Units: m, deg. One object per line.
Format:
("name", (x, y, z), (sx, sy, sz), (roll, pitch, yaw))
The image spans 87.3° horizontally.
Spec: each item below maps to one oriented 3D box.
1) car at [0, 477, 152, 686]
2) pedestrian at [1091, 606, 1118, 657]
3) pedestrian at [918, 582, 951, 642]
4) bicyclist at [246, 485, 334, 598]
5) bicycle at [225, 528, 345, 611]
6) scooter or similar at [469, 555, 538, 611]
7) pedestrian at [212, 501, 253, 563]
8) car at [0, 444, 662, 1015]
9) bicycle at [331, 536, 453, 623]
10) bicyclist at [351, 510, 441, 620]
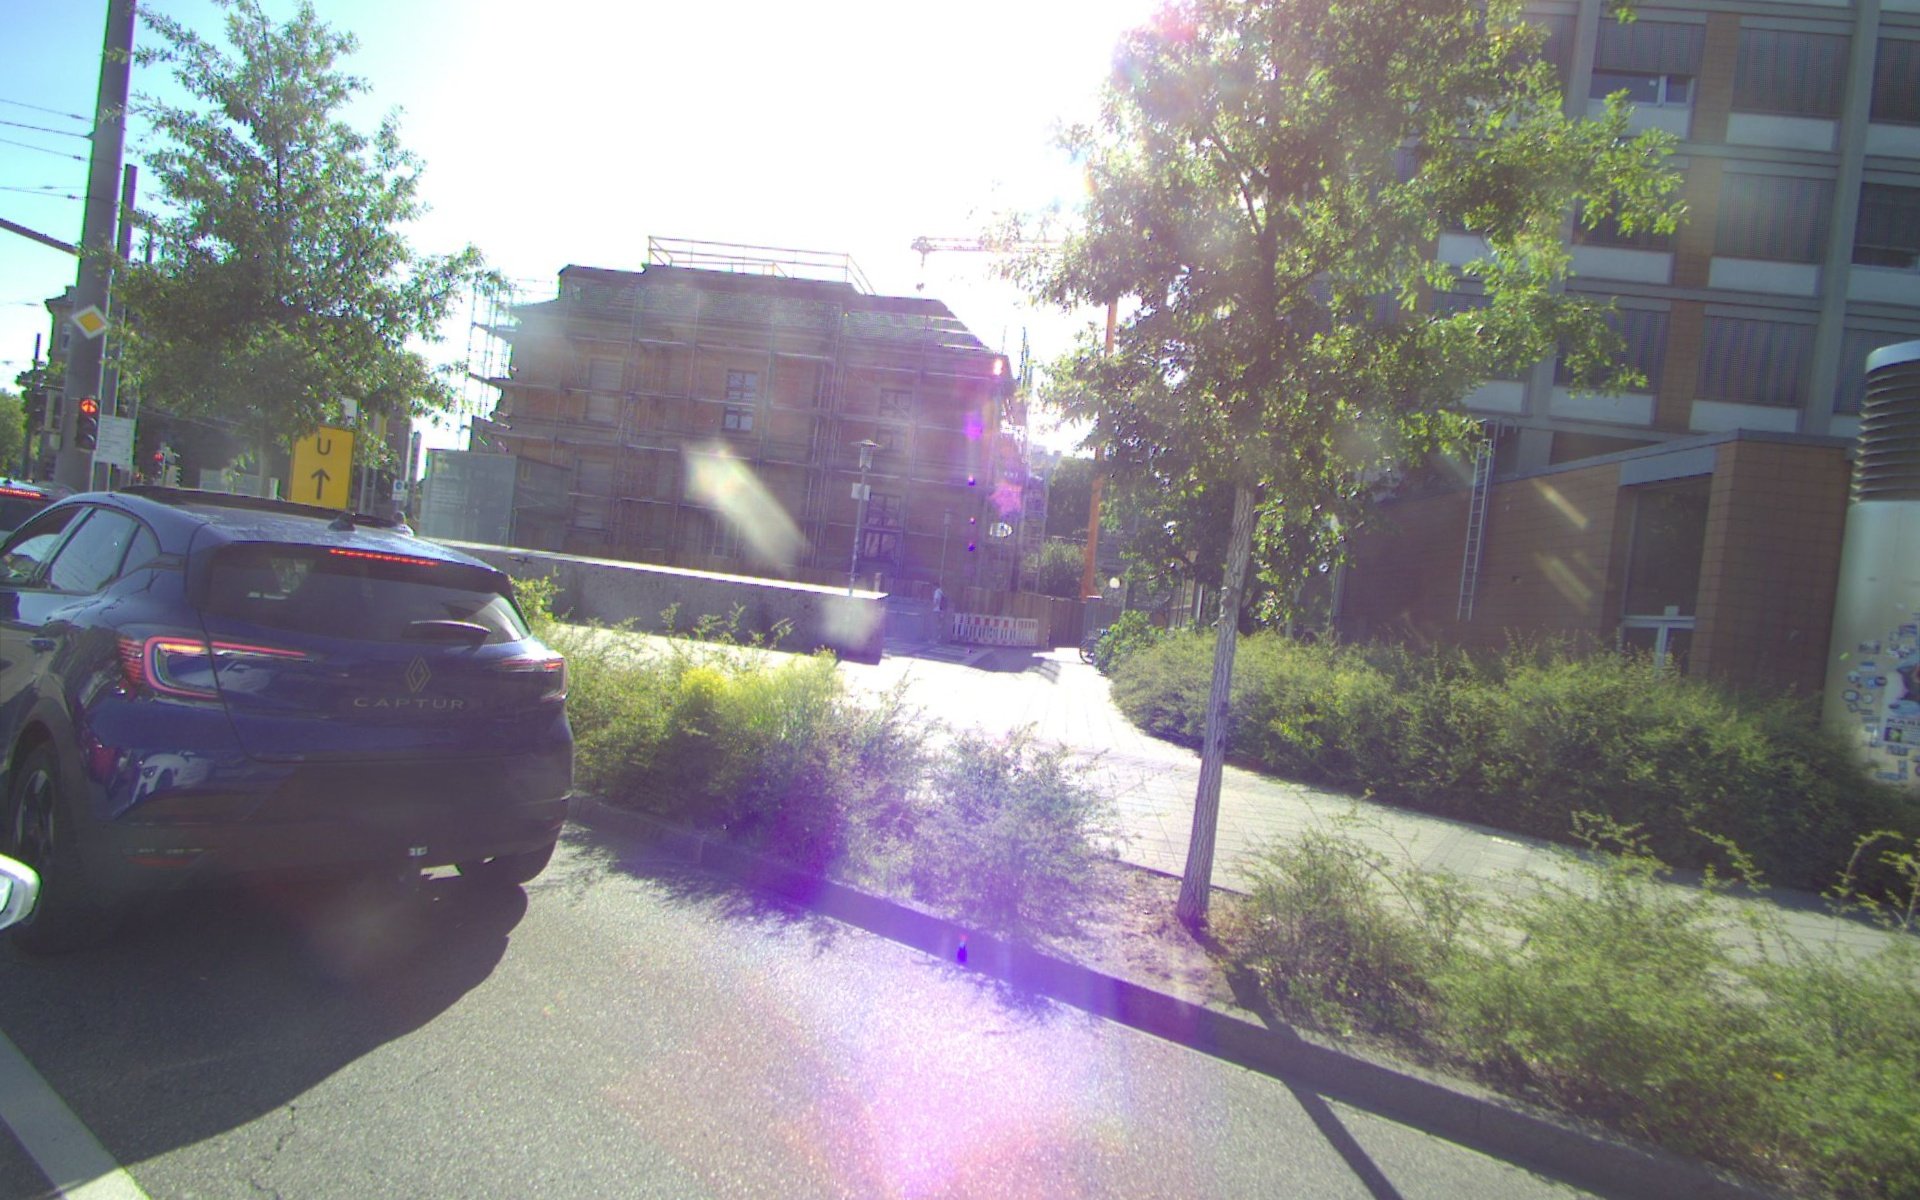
("car", (-9.118, -0.313, 9.117), (3.570, 1.636, 1.877), (6, -2, 37))
("pedestrian", (5.293, 1.142, 36.818), (0.713, 1.774, 0.538), (7, 1, -2))
("pedestrian", (-0.795, 0.379, 31.613), (0.775, 1.774, 0.538), (9, 1, -2))
("bicyclist", (-11.486, -1.000, 17.251), (0.960, 1.785, 0.721), (7, 1, 23))
("bicycle", (-11.620, -0.527, 17.317), (1.836, 1.180, 0.748), (7, 1, 23))
("scooter or similar", (-9.900, -0.364, 21.831), (1.226, 1.025, 0.469), (9, 1, 13))
("pedestrian", (-22.042, -2.047, 30.491), (0.586, 1.744, 0.869), (5, -1, -14))
("car", (-3.431, 0.303, 4.738), (3.739, 1.636, 1.878), (6, -2, 36))
("bicycle", (-9.243, -0.334, 16.372), (1.837, 1.180, 0.717), (7, 1, 26))
("bicyclist", (-9.157, -0.561, 16.342), (0.960, 1.637, 0.721), (7, 1, 26))
